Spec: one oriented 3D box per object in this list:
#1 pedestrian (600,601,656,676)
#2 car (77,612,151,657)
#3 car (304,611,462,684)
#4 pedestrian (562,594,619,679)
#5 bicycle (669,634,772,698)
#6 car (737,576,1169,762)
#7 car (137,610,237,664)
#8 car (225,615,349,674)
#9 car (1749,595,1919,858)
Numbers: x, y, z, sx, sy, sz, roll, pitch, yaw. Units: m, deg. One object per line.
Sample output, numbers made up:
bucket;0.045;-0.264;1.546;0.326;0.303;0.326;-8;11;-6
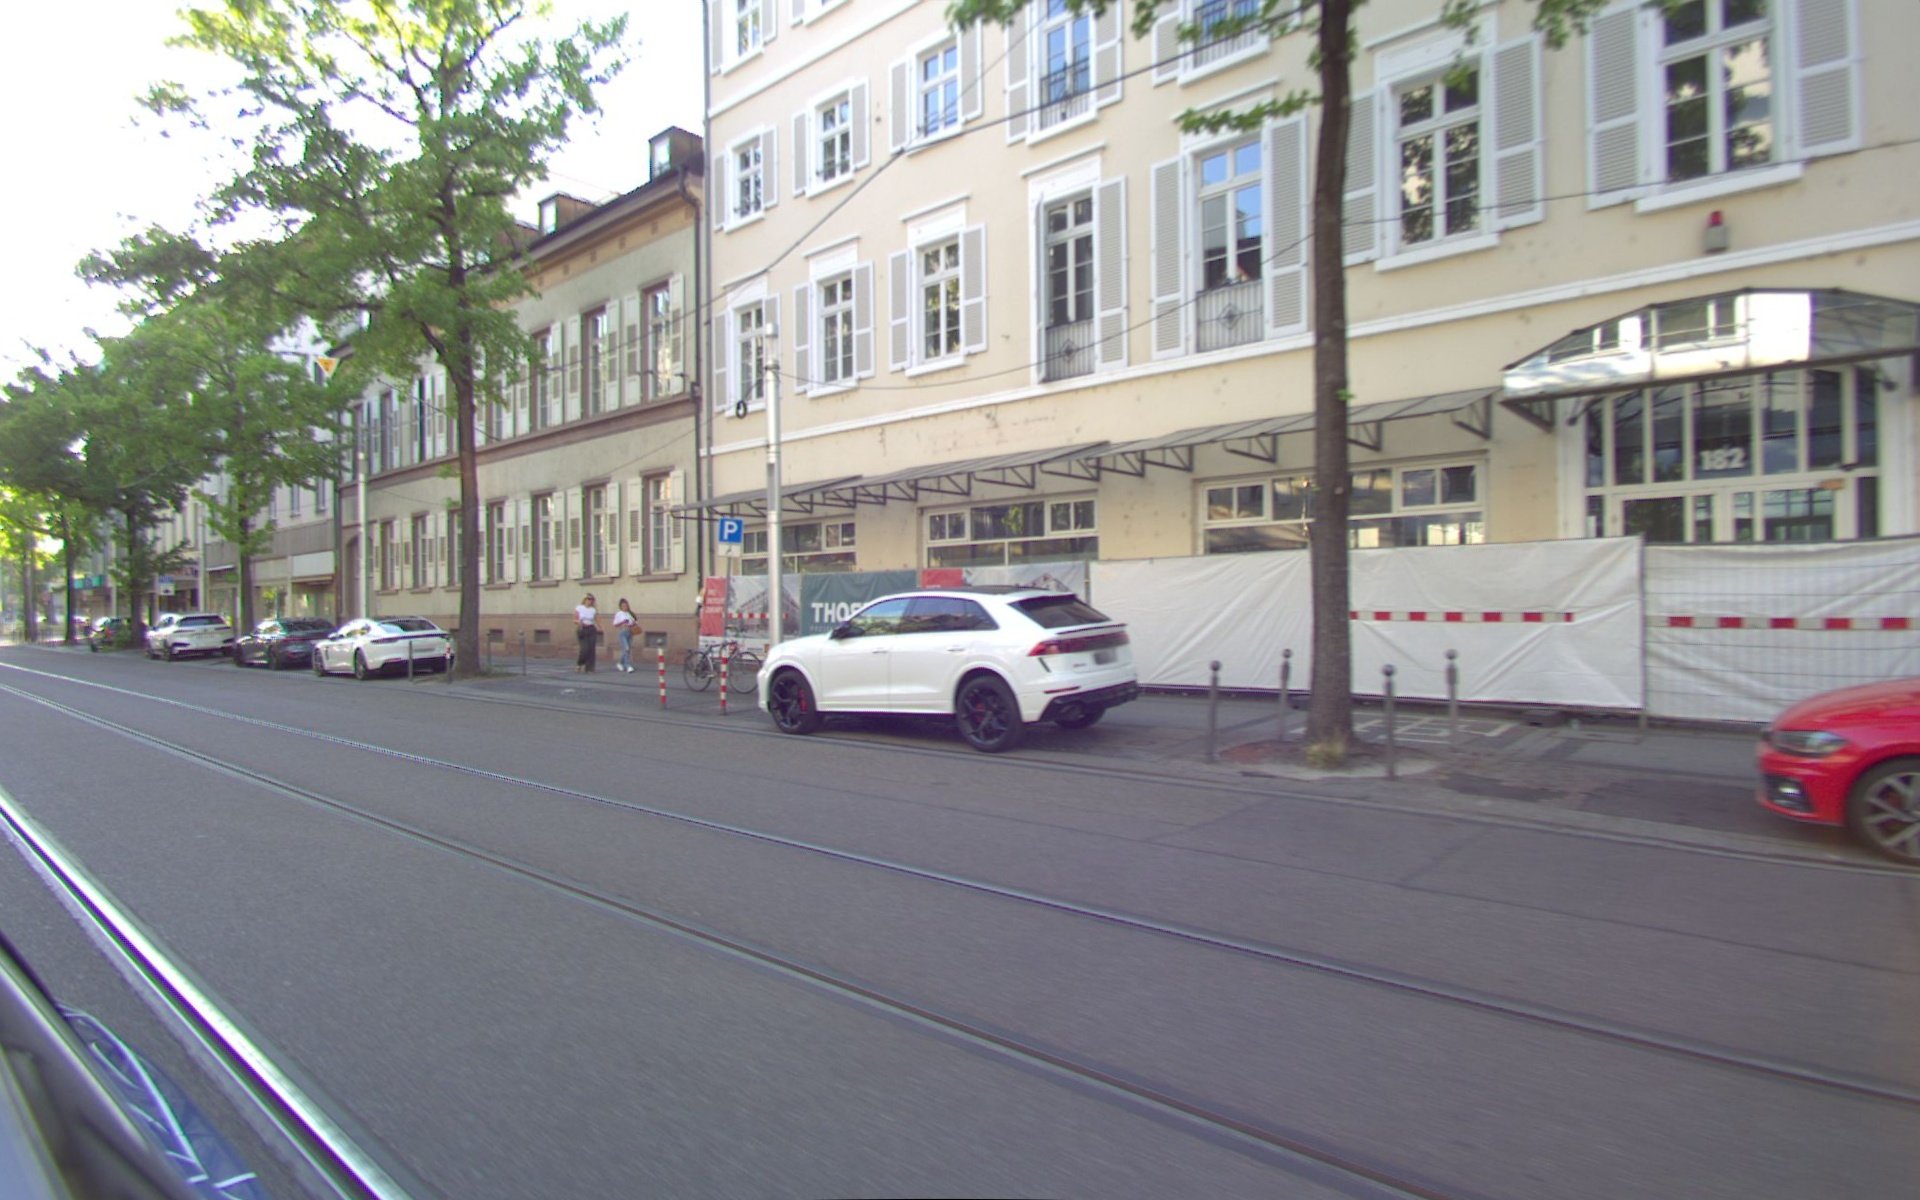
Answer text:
pedestrian;-7.386;0.841;22.500;0.933;1.592;0.736;-1;2;41
car;-39.324;1.571;47.004;4.763;1.972;1.907;-2;-2;41
car;-13.838;1.086;24.161;4.615;1.477;1.873;-2;2;42
pedestrian;-8.034;0.776;21.992;0.933;1.755;0.736;-1;2;42
bicycle;-4.082;1.093;17.177;1.892;0.982;0.620;-1;2;38
car;-0.253;0.682;11.850;4.945;1.701;1.848;-1;2;38
car;-28.311;1.325;37.010;4.763;1.754;1.927;-2;2;41
car;-19.587;1.258;29.374;4.337;1.477;1.724;-2;2;39
car;6.955;0.696;5.463;4.140;1.416;1.642;-1;2;42
